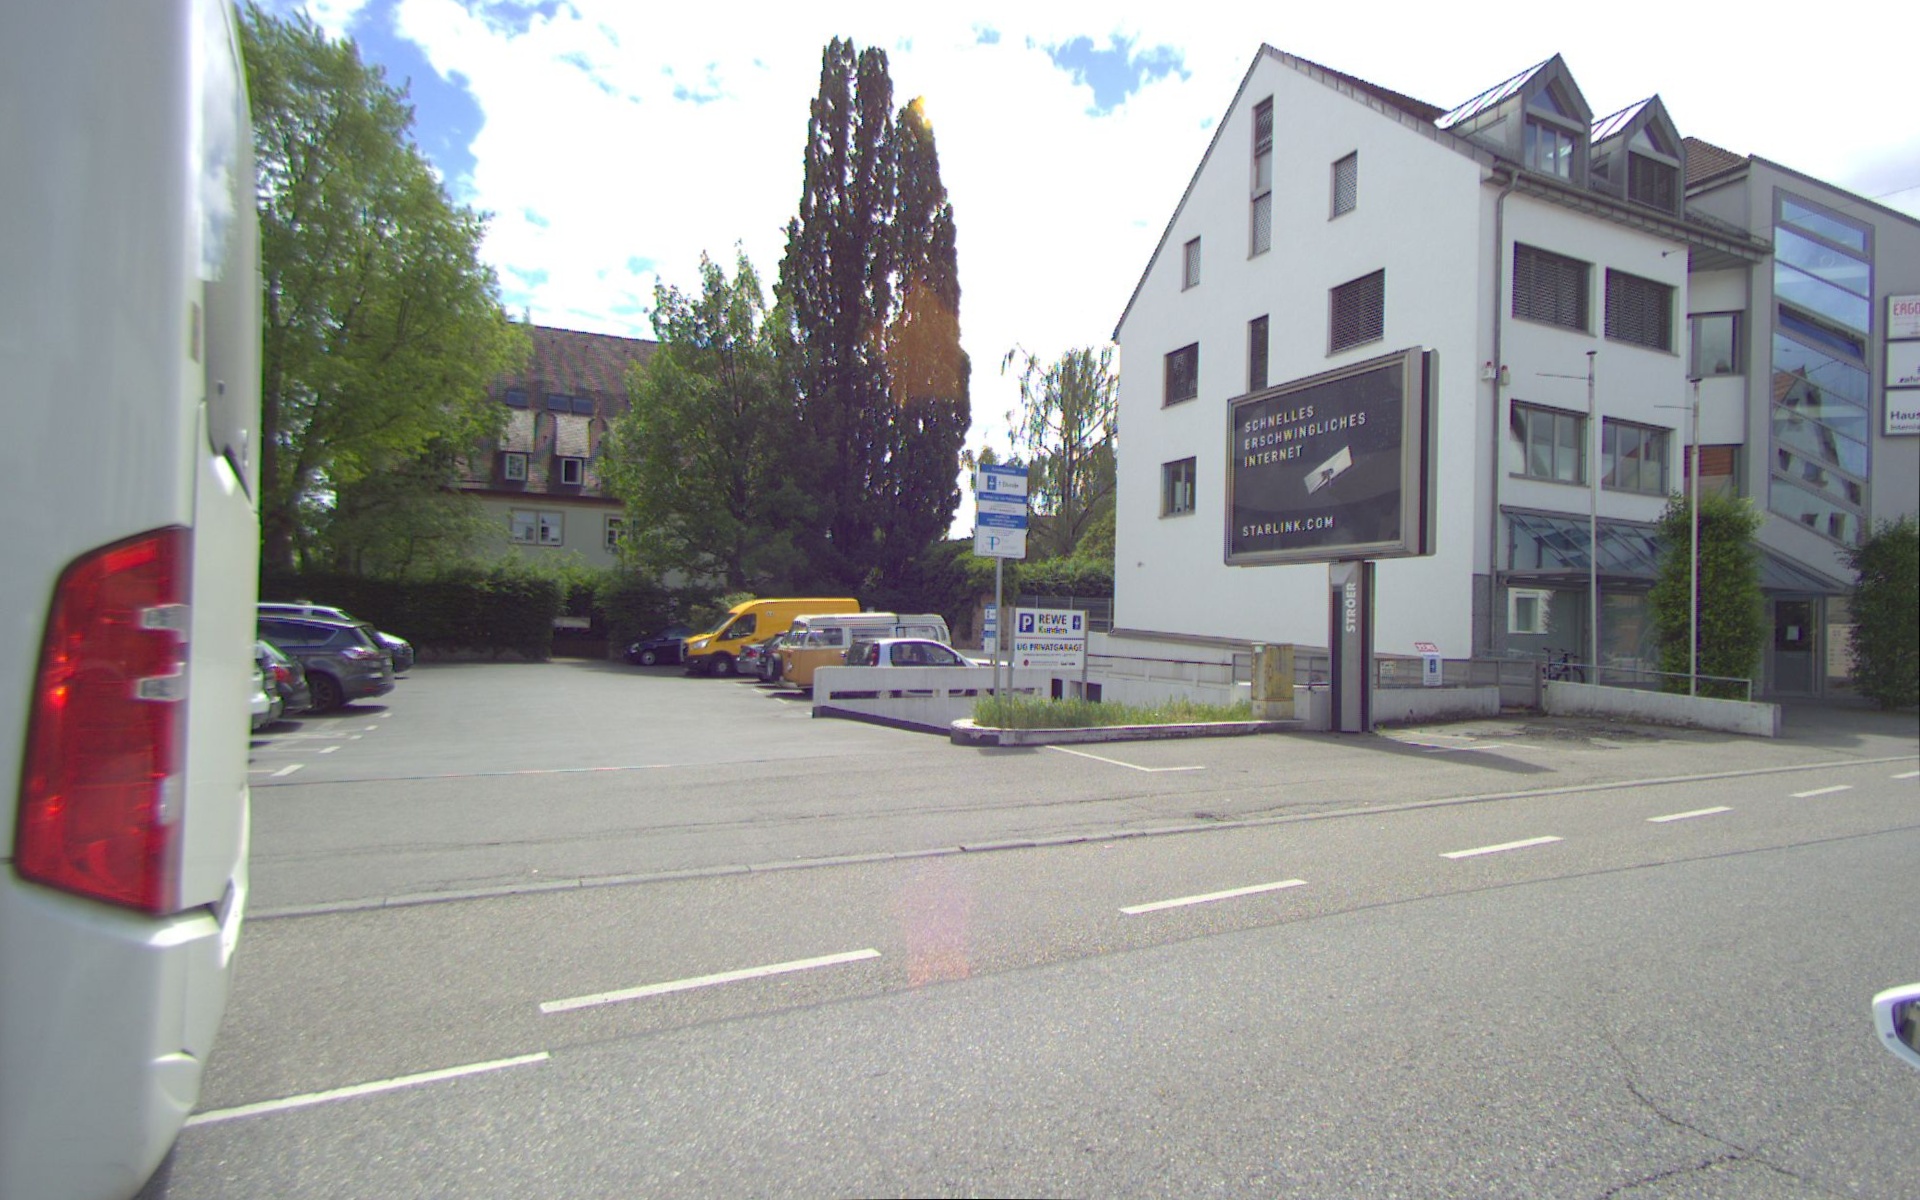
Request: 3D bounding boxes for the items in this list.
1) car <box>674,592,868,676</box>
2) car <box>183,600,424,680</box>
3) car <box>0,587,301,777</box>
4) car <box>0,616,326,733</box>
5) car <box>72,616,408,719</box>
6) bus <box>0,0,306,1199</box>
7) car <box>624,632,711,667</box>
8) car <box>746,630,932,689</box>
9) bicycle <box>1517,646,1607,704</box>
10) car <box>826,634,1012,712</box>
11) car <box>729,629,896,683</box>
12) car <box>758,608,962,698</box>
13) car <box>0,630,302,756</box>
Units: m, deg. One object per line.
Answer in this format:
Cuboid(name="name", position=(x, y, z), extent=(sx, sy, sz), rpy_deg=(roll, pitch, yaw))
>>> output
Cuboid(name="car", position=(-6.157, 1.183, 32.961), extent=(5.900, 2.563, 2.055), rpy_deg=(2, -3, -27))
Cuboid(name="car", position=(-17.145, 1.072, 26.584), extent=(5.018, 1.967, 1.963), rpy_deg=(2, -2, -24))
Cuboid(name="car", position=(-9.236, 0.757, 9.353), extent=(4.859, 1.640, 1.947), rpy_deg=(1, -4, -23))
Cuboid(name="car", position=(-11.731, 1.063, 15.060), extent=(3.559, 1.566, 1.756), rpy_deg=(2, -2, -28))
Cuboid(name="car", position=(-12.223, 1.122, 17.483), extent=(4.437, 1.599, 1.915), rpy_deg=(1, -2, -26))
Cuboid(name="bus", position=(-5.216, -0.241, 0.576), extent=(7.982, 3.205, 2.700), rpy_deg=(2, -2, -33))
Cuboid(name="car", position=(-11.017, 1.853, 37.797), extent=(2.994, 1.200, 1.413), rpy_deg=(2, 1, -23))
Cuboid(name="car", position=(-3.213, 1.577, 26.890), extent=(4.619, 1.457, 1.807), rpy_deg=(2, -2, -25))
Cuboid(name="bicycle", position=(11.966, 1.472, 19.954), extent=(1.978, 1.109, 0.628), rpy_deg=(2, -2, -28))
Cuboid(name="car", position=(-0.880, 1.575, 22.260), extent=(3.716, 1.549, 1.802), rpy_deg=(2, -2, -32))
Cuboid(name="car", position=(-4.255, 1.625, 29.027), extent=(4.446, 1.457, 1.807), rpy_deg=(2, -3, -25))
Cuboid(name="car", position=(-2.422, 1.275, 24.474), extent=(4.588, 2.015, 1.832), rpy_deg=(2, -2, -26))
Cuboid(name="car", position=(-10.161, 1.059, 12.071), extent=(3.559, 1.348, 1.756), rpy_deg=(2, -2, -28))
